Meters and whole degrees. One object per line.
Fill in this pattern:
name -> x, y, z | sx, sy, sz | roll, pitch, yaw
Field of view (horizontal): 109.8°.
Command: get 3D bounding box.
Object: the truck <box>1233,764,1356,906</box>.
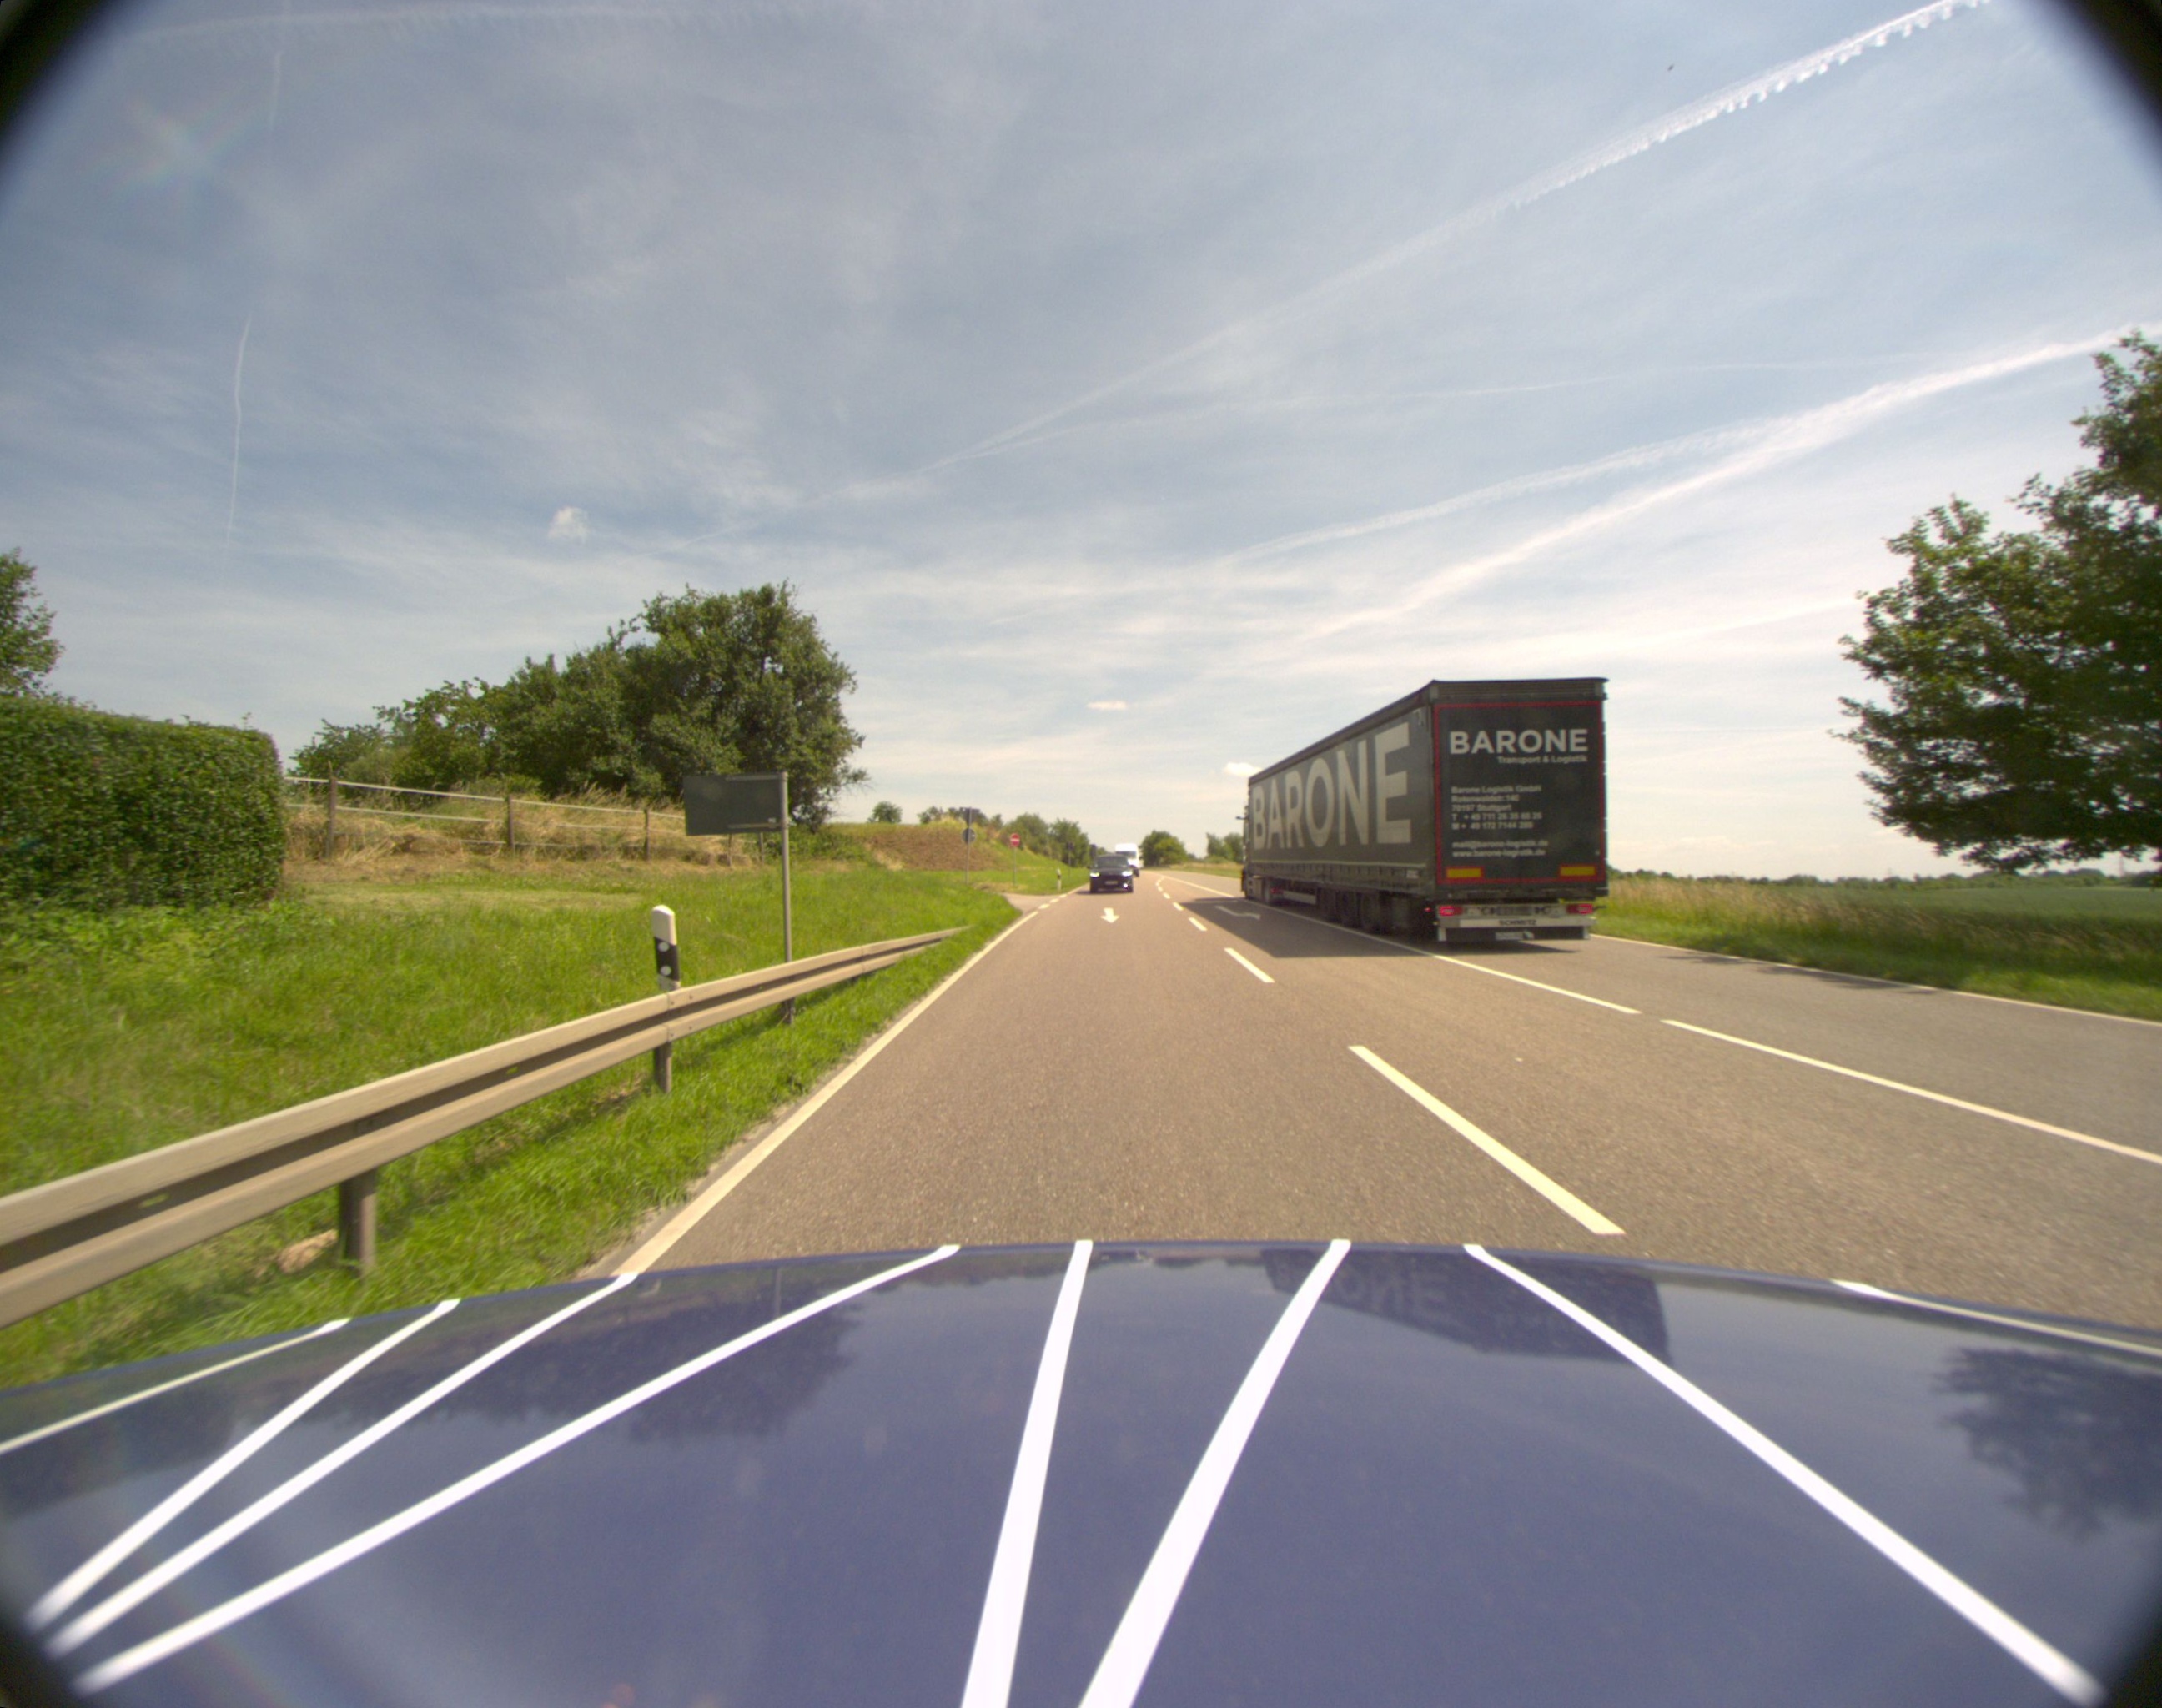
truck -> 6.768, -0.554, 24.866 | 2.591, 4.080, 5.442 | -1, 0, 2

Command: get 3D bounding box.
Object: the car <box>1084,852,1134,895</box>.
car -> 1.325, 0.805, 34.117 | 2.038, 1.691, 5.514 | -2, 0, 4

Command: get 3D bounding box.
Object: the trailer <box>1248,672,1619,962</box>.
trailer -> 6.559, -0.536, 17.743 | 2.599, 4.118, 13.741 | -1, 0, 2

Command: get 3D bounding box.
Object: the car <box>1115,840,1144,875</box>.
car -> 3.869, 0.282, 61.074 | 2.225, 2.617, 5.754 | 1, 0, 3
